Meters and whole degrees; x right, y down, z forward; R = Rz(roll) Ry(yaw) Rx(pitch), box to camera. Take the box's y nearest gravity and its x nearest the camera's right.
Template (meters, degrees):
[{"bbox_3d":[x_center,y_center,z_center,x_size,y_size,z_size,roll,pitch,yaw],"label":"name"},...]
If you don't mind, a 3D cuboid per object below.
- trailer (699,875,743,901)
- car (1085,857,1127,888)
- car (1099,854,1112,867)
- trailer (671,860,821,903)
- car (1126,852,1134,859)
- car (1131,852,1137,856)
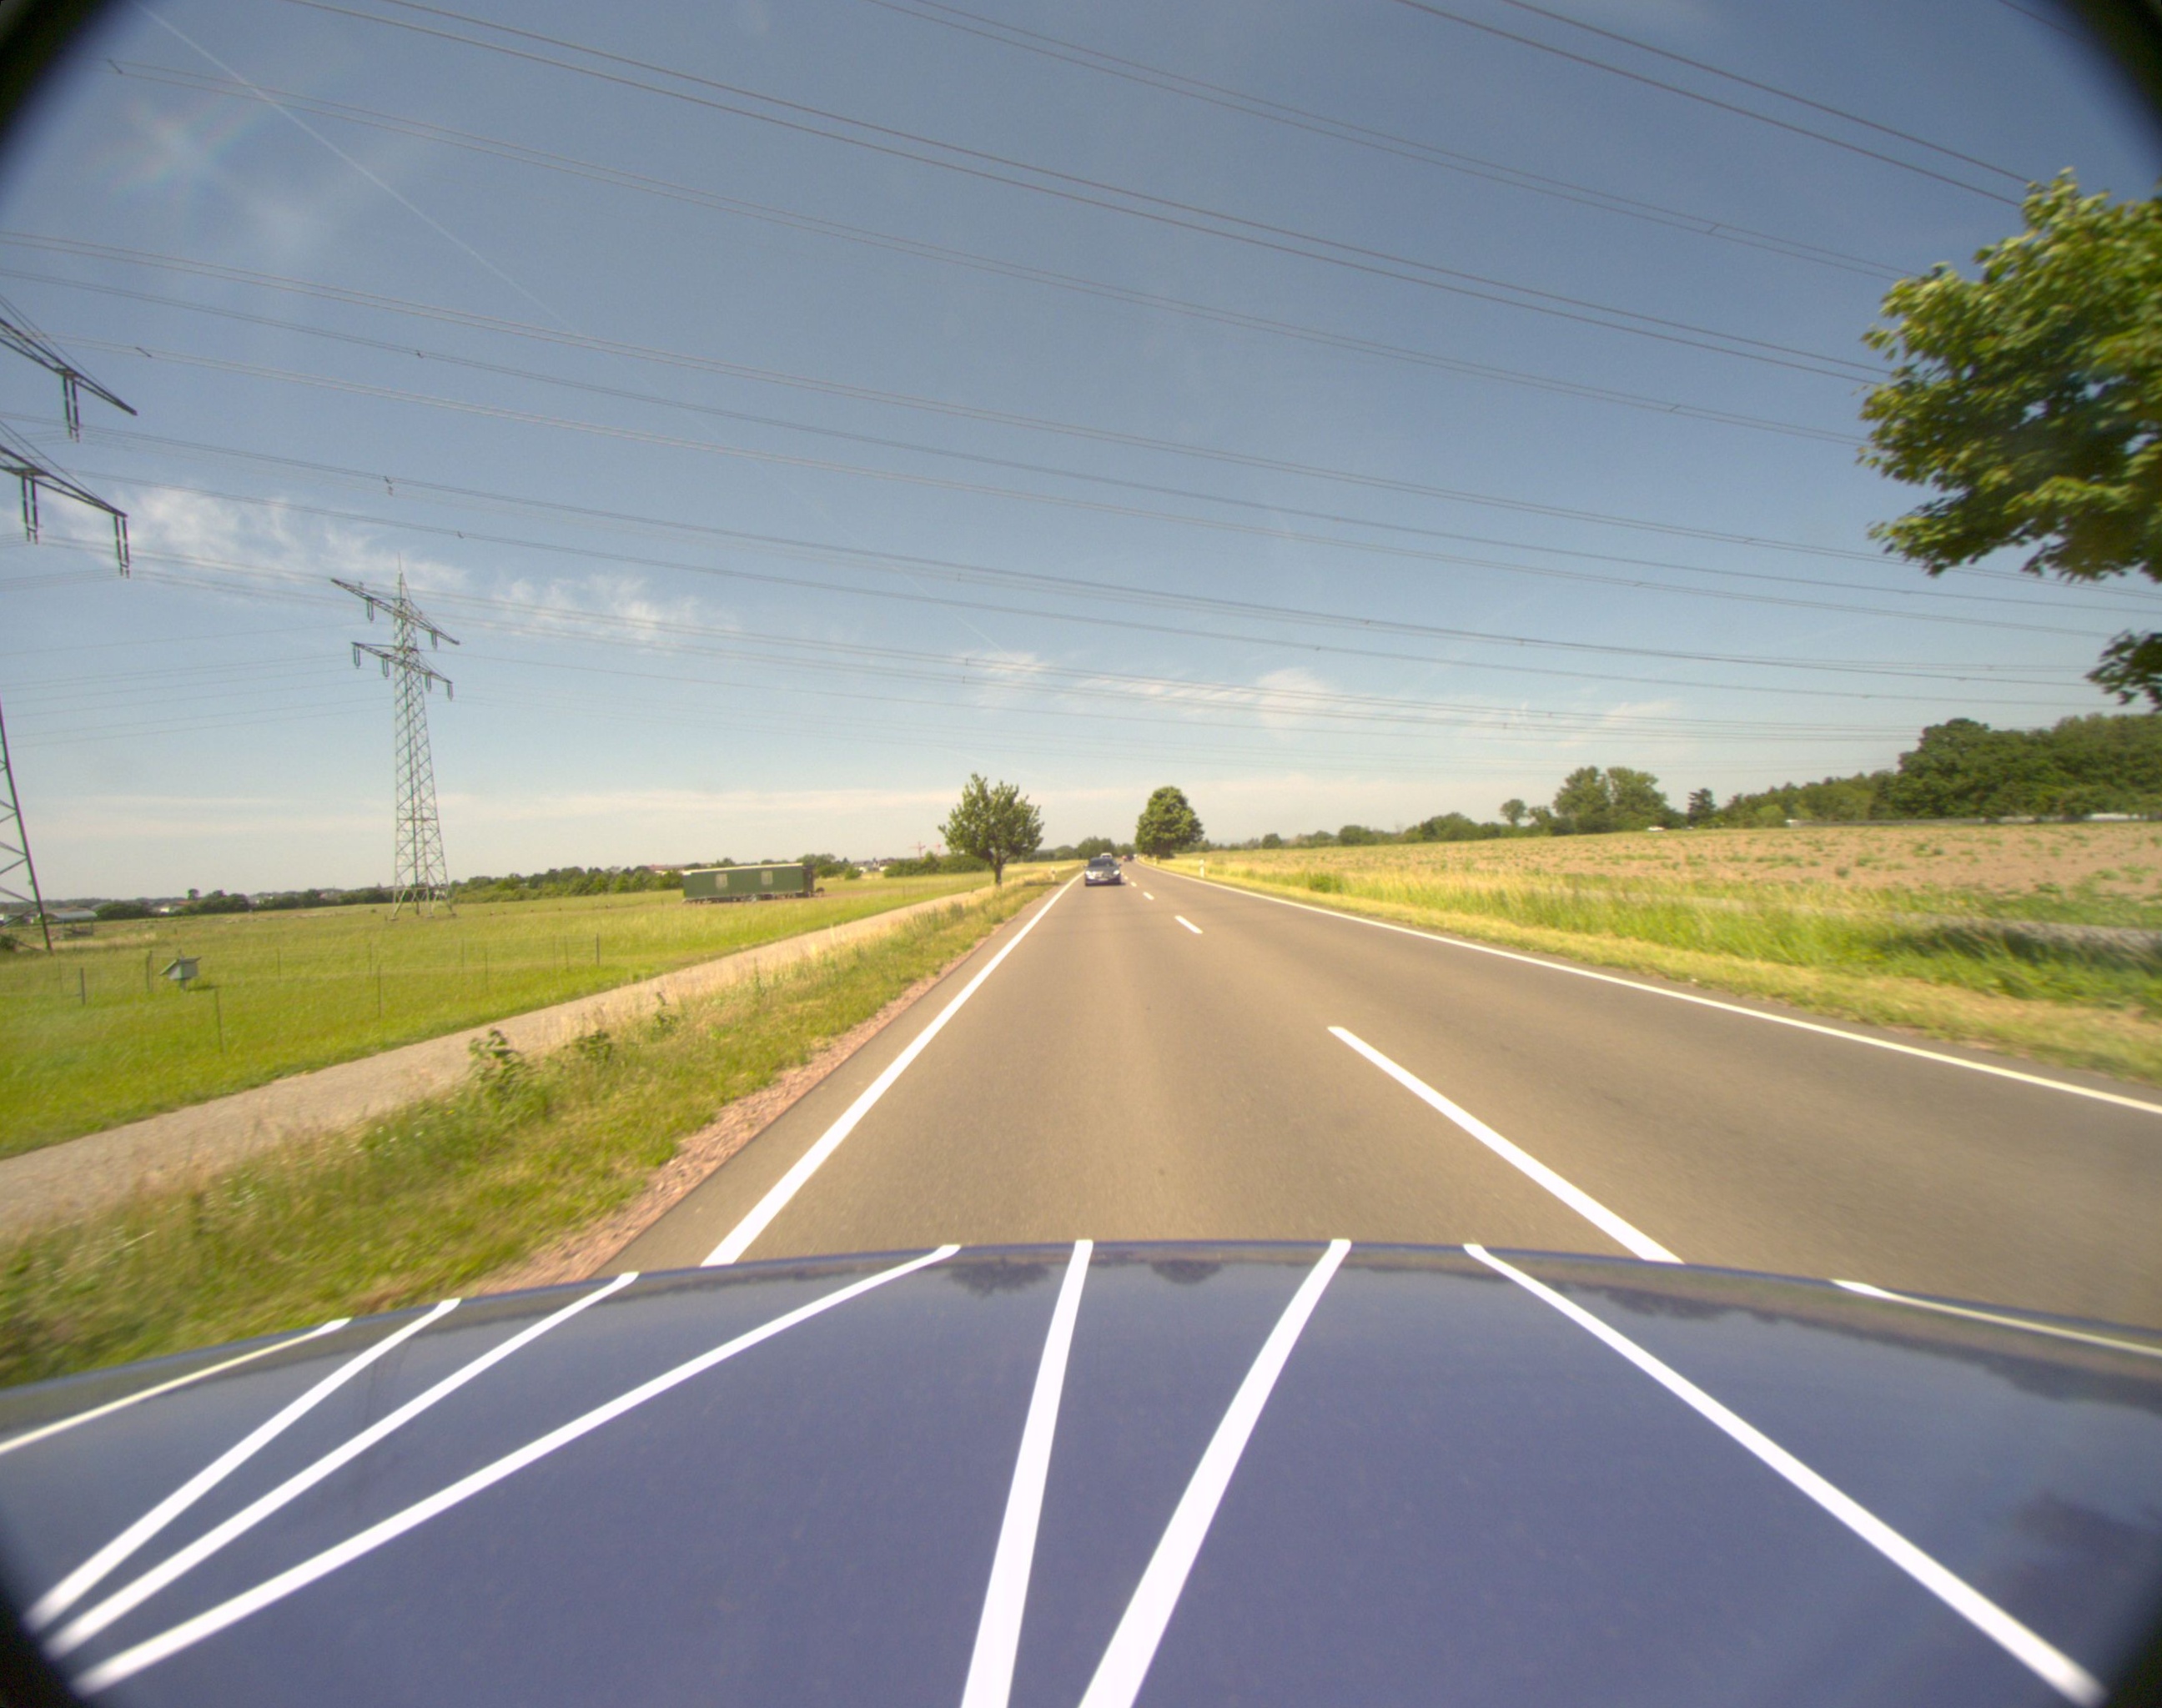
[{"bbox_3d":[-37.534,3.542,79.206,3.415,2.448,2.038,-3,0,2],"label":"trailer"},{"bbox_3d":[1.180,0.898,38.027,1.954,1.390,4.000,-1,0,0],"label":"car"},{"bbox_3d":[3.952,0.984,121.120,1.998,1.907,4.207,-3,0,2],"label":"car"},{"bbox_3d":[-33.481,2.685,76.272,13.542,3.455,3.276,-3,0,2],"label":"trailer"},{"bbox_3d":[11.079,0.300,172.781,1.738,1.439,4.000,-2,1,3],"label":"car"},{"bbox_3d":[16.946,-0.060,243.083,1.709,1.325,4.001,-3,0,4],"label":"car"}]
